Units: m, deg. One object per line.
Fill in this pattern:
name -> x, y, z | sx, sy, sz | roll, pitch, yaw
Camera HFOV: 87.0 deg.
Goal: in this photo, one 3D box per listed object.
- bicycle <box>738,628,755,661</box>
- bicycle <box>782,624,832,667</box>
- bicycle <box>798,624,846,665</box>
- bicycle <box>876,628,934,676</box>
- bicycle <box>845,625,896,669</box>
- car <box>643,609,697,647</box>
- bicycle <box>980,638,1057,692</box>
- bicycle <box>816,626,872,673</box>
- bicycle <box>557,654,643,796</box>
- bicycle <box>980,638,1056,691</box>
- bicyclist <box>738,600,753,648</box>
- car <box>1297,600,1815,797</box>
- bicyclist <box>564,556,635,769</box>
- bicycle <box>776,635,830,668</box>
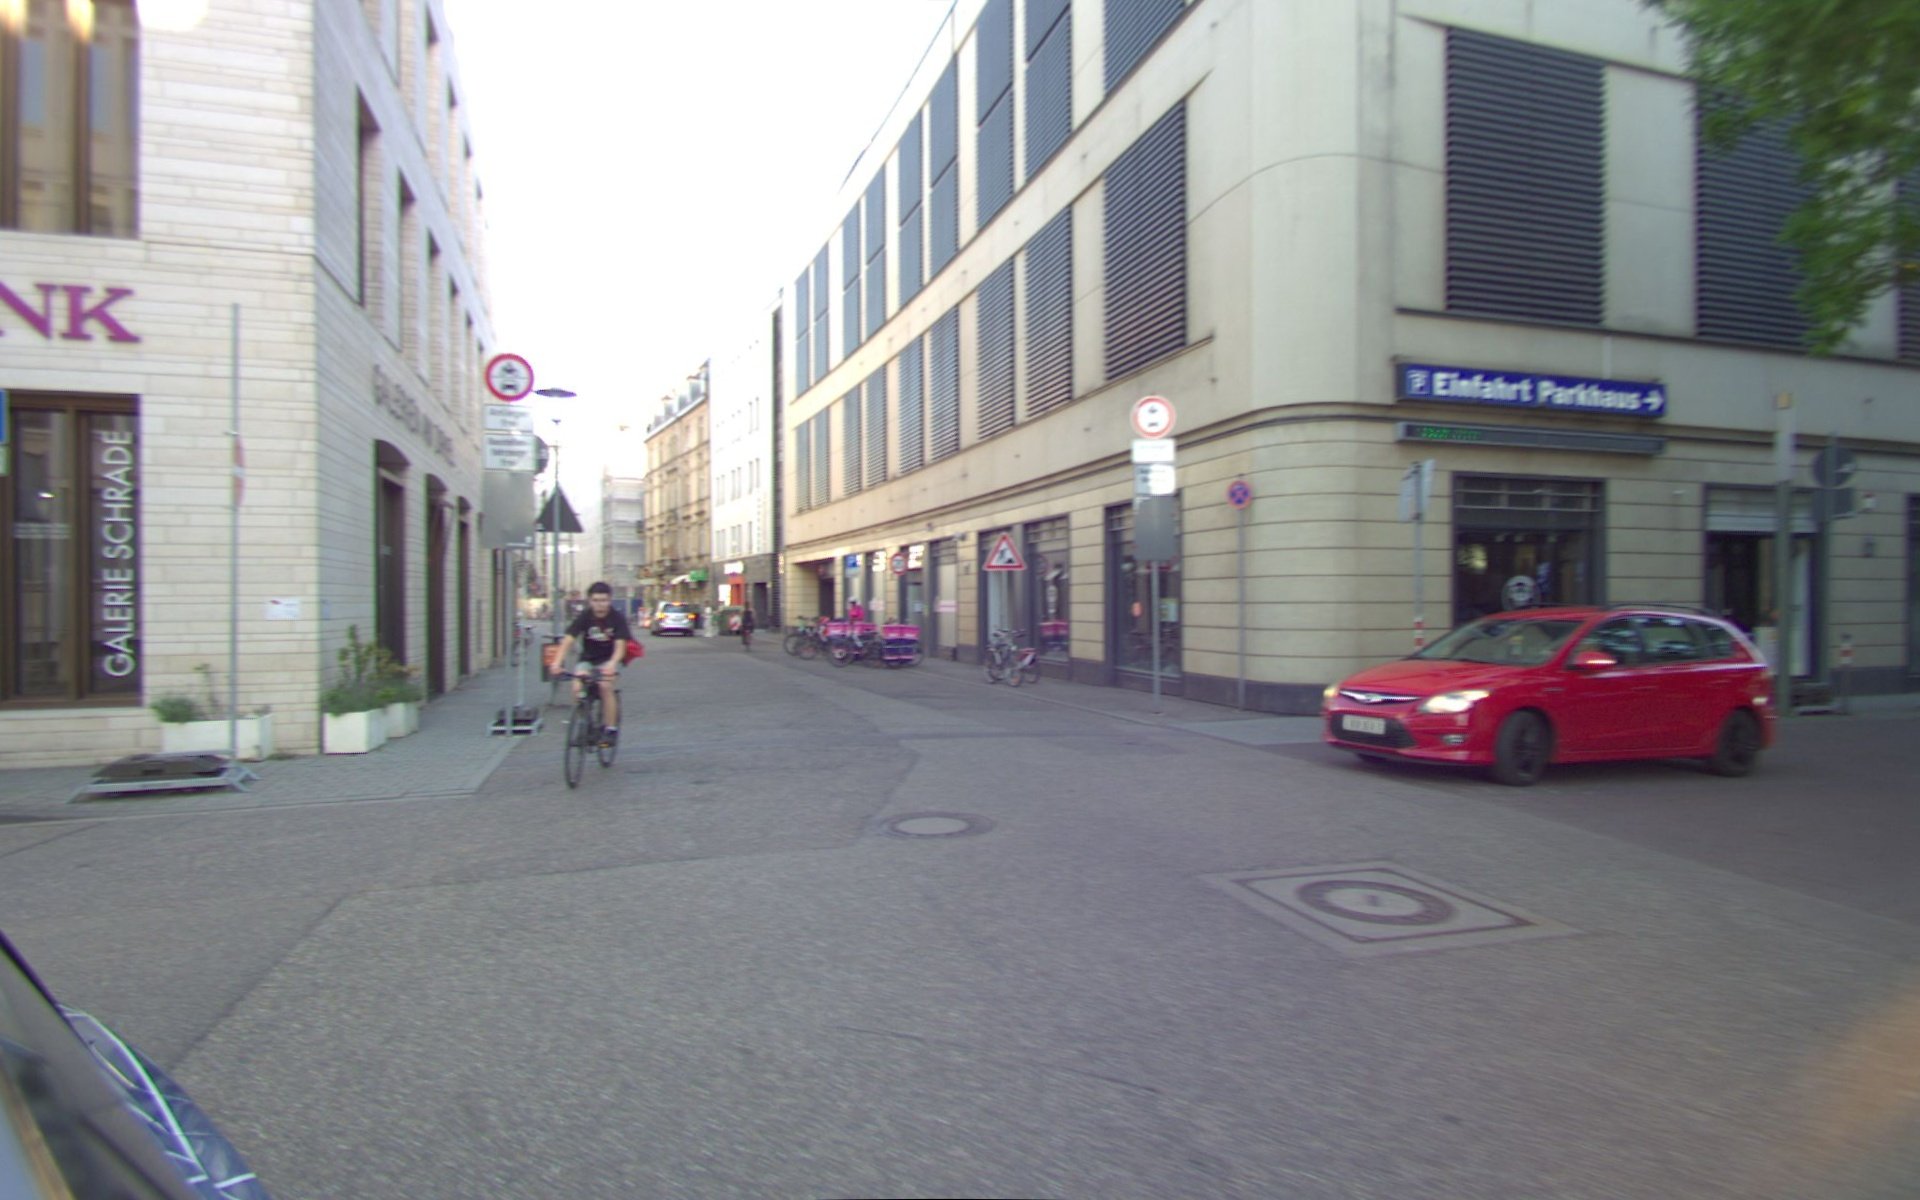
bicycle -> -7.218, 1.500, 34.211 | 0.510, 1.002, 2.114 | 1, 0, -12
bicycle -> -4.624, 1.381, 30.605 | 1.494, 1.259, 0.353 | 1, 0, -9
bicycle -> -4.382, 1.417, 32.284 | 1.496, 1.259, 0.353 | 1, 0, -5
bicycle -> -1.472, 1.375, 26.943 | 1.494, 1.259, 0.354 | 1, 0, -13
bicycle -> -2.652, 1.391, 30.028 | 1.497, 1.259, 0.353 | 1, 0, -1
car -> -14.125, 1.325, 49.115 | 2.140, 1.674, 4.013 | 1, 0, -21
bicycle -> 1.154, 1.294, 20.065 | 1.499, 1.041, 0.352 | -1, -1, 4
bicycle -> -3.165, 1.350, 27.658 | 1.497, 1.259, 0.353 | 1, 0, -1
bicycle -> -3.155, 1.019, 8.777 | 0.502, 0.981, 1.826 | 1, 0, -26
bicycle -> 1.166, 1.305, 20.452 | 1.499, 1.041, 0.352 | -1, -1, 4
bicyclist -> -7.298, 0.810, 34.451 | 0.490, 1.638, 0.633 | 1, 0, -12
car -> 5.399, 0.803, 9.200 | 4.189, 1.476, 1.834 | 2, -1, -21
bicyclist -> -3.083, 0.512, 8.640 | 0.493, 1.745, 0.553 | 1, 0, -26
bicycle -> -4.571, 1.495, 29.460 | 1.494, 0.960, 0.354 | 1, 0, -13
